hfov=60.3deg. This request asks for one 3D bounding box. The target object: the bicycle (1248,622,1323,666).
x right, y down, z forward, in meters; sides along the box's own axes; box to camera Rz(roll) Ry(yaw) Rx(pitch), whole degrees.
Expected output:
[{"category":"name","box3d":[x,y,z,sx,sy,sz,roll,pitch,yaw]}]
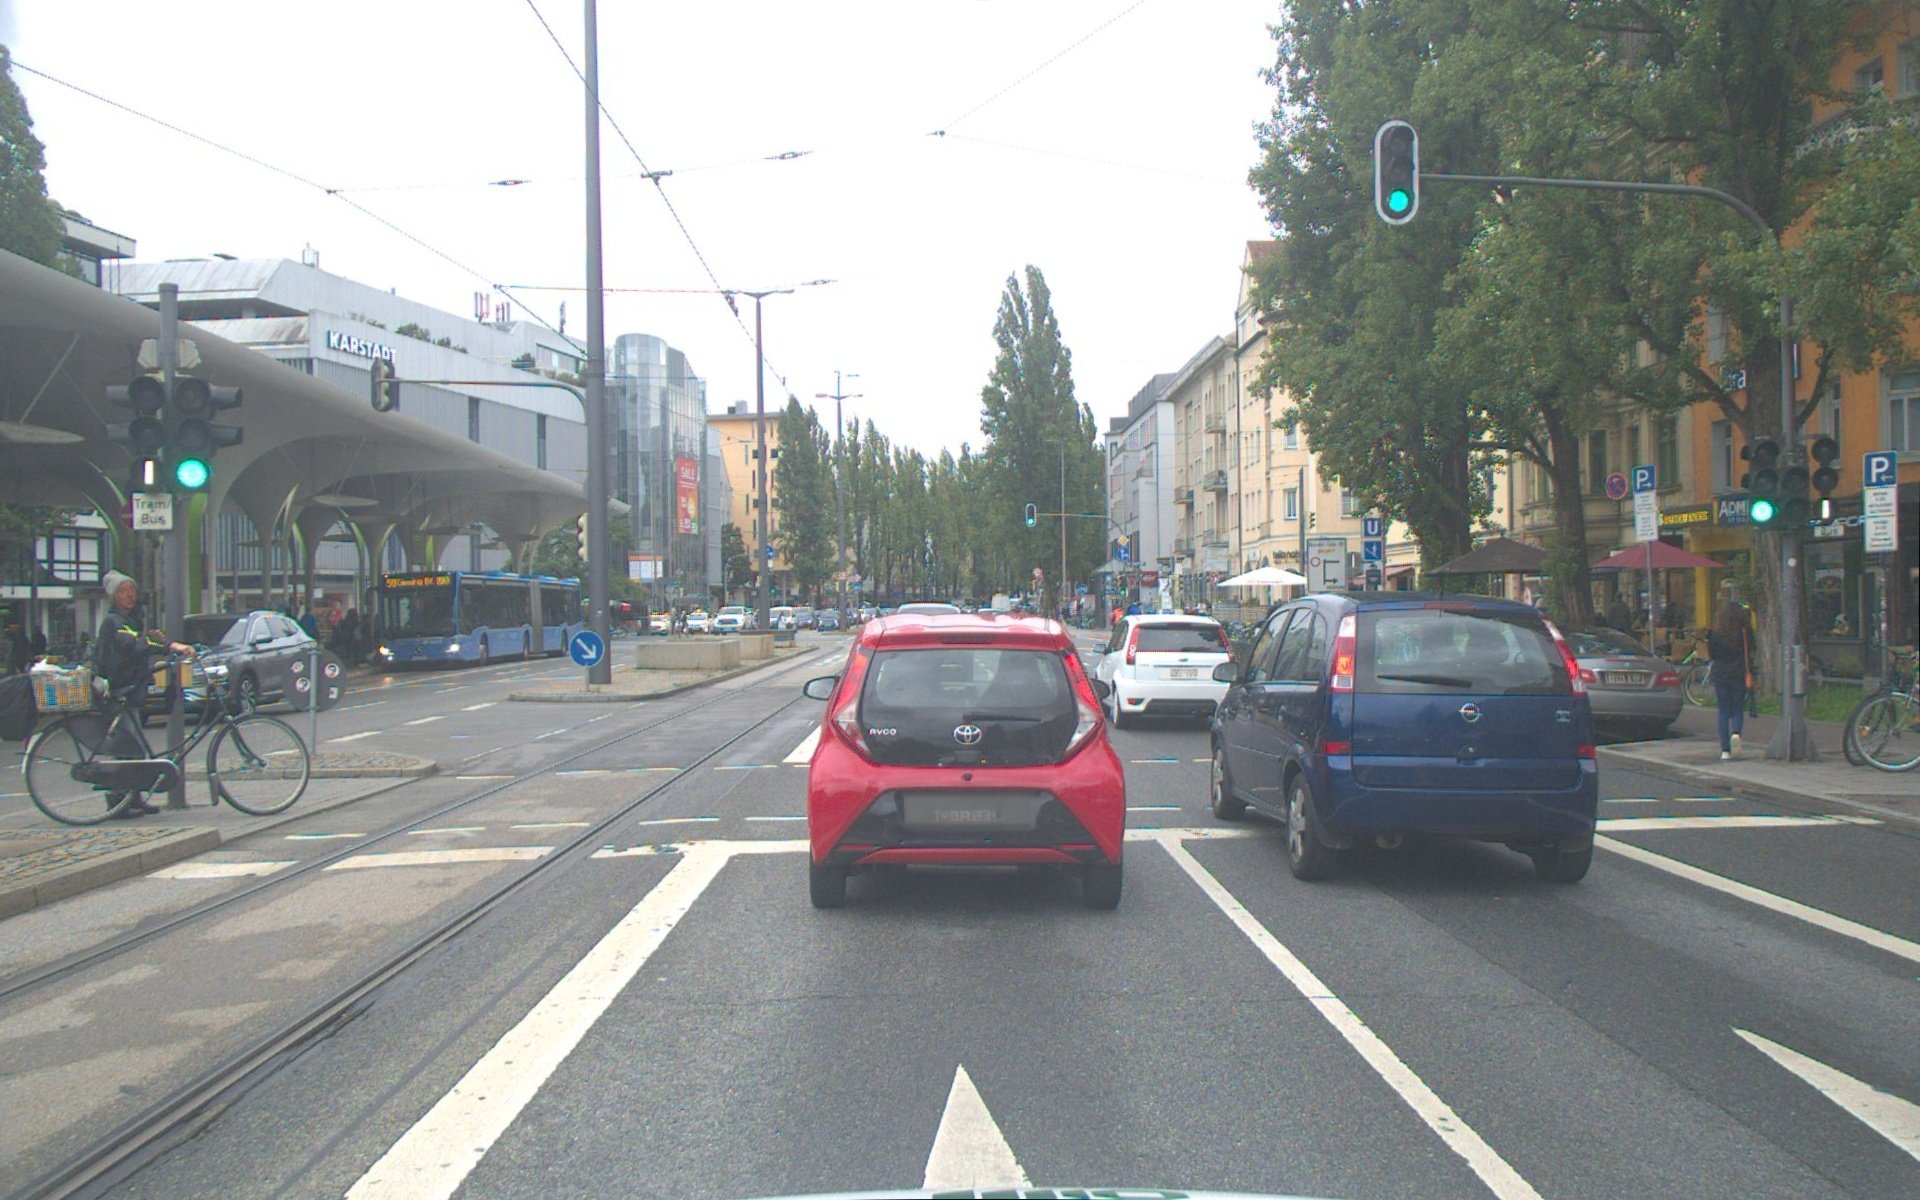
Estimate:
[{"category":"bicycle","box3d":[7.796,1.048,39.661,1.806,1.013,0.374,1,1,38]}]

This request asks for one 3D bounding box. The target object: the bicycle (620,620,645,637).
[{"category":"bicycle","box3d":[-21.625,1.870,109.107,1.541,1.131,0.373,-1,0,3]}]

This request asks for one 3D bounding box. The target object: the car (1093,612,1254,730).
[{"category":"car","box3d":[2.810,0.896,22.378,1.665,1.451,3.496,0,0,-1]}]

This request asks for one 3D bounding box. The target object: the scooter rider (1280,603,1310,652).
[{"category":"scooter rider","box3d":[9.861,0.814,48.712,0.687,1.413,0.643,-1,0,-3]}]

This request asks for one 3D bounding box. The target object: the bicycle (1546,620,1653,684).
[{"category":"bicycle","box3d":[12.412,1.010,32.124,1.848,1.194,0.582,-1,-1,1]}]

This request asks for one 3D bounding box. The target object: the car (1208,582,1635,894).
[{"category":"car","box3d":[2.684,0.724,10.439,1.668,1.617,3.555,0,0,-1]}]

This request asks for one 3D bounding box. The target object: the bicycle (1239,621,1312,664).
[{"category":"bicycle","box3d":[7.819,1.053,41.022,1.806,1.013,0.374,1,1,37]}]

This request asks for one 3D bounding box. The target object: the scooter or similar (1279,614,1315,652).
[{"category":"scooter or similar","box3d":[9.908,0.970,48.656,0.760,1.094,1.256,-1,0,-3]}]

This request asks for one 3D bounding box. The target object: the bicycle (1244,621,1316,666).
[{"category":"bicycle","box3d":[7.791,1.050,40.283,1.810,1.013,0.373,1,1,44]}]

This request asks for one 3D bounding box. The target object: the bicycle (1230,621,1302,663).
[{"category":"bicycle","box3d":[7.701,1.054,41.656,1.806,1.013,0.374,1,1,37]}]

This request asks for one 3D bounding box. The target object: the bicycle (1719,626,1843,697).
[{"category":"bicycle","box3d":[13.683,1.019,27.574,1.850,1.133,0.458,-1,-1,-4]}]

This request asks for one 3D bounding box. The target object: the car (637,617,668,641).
[{"category":"car","box3d":[-21.938,2.064,118.041,1.959,1.563,4.400,-2,0,-13]}]

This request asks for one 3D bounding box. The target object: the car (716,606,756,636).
[{"category":"car","box3d":[-15.097,1.369,111.873,2.132,1.920,6.153,-1,0,-3]}]

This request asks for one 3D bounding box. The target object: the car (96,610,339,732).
[{"category":"car","box3d":[-11.646,1.045,26.332,1.826,1.667,4.676,-3,0,-2]}]

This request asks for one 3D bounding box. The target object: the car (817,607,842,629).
[{"category":"car","box3d":[-9.378,1.292,118.707,1.514,1.471,3.538,-2,0,-1]}]

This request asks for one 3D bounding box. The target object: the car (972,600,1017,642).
[{"category":"car","box3d":[1.617,0.962,78.559,1.953,1.870,3.999,-2,0,-1]}]

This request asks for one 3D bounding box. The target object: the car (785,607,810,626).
[{"category":"car","box3d":[-12.546,1.264,127.602,1.644,1.420,4.230,-2,0,-3]}]

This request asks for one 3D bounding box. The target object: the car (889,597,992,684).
[{"category":"car","box3d":[-0.419,0.795,34.222,1.953,1.646,3.999,-1,0,-1]}]

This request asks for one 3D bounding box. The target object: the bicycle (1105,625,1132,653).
[{"category":"bicycle","box3d":[7.474,1.840,78.235,0.602,1.287,2.514,-1,0,-10]}]

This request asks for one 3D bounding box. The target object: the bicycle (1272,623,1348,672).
[{"category":"bicycle","box3d":[7.772,1.037,36.771,0.372,1.013,1.816,-1,1,-40]}]

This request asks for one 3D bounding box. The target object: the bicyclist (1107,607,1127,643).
[{"category":"bicyclist","box3d":[7.425,1.186,78.348,0.602,1.686,1.248,-1,0,-10]}]

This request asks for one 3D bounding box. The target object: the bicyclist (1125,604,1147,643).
[{"category":"bicyclist","box3d":[8.777,1.155,82.376,0.749,1.902,1.129,-1,0,-12]}]

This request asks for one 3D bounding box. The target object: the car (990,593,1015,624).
[{"category":"car","box3d":[3.903,0.770,153.053,2.064,2.766,4.803,-1,0,0]}]

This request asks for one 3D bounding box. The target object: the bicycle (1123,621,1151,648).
[{"category":"bicycle","box3d":[8.798,1.690,82.179,0.603,1.287,2.512,-1,0,-12]}]

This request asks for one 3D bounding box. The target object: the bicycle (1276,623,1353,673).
[{"category":"bicycle","box3d":[7.736,1.033,36.129,0.372,1.013,1.816,-1,1,-40]}]

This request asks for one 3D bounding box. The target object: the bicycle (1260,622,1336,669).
[{"category":"bicycle","box3d":[7.796,1.042,38.230,1.811,1.013,0.373,1,1,45]}]

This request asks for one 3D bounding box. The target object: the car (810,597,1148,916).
[{"category":"car","box3d":[0.097,0.733,9.312,1.572,1.487,3.130,0,0,0]}]

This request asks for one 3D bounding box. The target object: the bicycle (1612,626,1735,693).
[{"category":"bicycle","box3d":[11.853,0.984,27.492,1.850,1.072,0.458,-1,-1,-4]}]

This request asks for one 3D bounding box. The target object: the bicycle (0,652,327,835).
[{"category":"bicycle","box3d":[-5.598,0.961,11.484,2.200,1.170,0.501,1,-1,-30]}]

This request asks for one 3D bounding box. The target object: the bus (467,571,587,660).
[{"category":"bus","box3d":[-16.472,0.570,63.413,2.606,3.060,7.511,-3,0,-1]}]

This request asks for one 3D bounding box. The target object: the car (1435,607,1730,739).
[{"category":"car","box3d":[7.989,0.866,21.744,1.954,1.465,4.526,-2,0,-3]}]

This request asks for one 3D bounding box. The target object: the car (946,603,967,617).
[{"category":"car","box3d":[-0.415,1.354,222.714,1.951,1.758,3.920,-1,0,13]}]

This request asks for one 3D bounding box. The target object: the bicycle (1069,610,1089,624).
[{"category":"bicycle","box3d":[8.682,1.256,120.910,1.375,0.980,0.369,-1,0,-6]}]

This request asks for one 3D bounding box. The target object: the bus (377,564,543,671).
[{"category":"bus","box3d":[-16.173,0.542,54.364,2.607,3.060,10.509,-3,0,-3]}]

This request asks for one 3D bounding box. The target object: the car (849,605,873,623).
[{"category":"car","box3d":[-9.931,1.386,165.758,1.706,1.699,4.735,-2,0,5]}]

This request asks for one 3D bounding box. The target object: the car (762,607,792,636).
[{"category":"car","box3d":[-12.630,1.469,114.139,1.750,1.887,4.215,-2,0,-3]}]

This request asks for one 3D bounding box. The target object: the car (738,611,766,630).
[{"category":"car","box3d":[-15.566,1.521,123.919,1.639,1.403,4.611,-1,0,-2]}]

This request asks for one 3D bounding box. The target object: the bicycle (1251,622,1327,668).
[{"category":"bicycle","box3d":[7.747,1.044,38.978,1.809,1.013,0.373,1,1,41]}]
